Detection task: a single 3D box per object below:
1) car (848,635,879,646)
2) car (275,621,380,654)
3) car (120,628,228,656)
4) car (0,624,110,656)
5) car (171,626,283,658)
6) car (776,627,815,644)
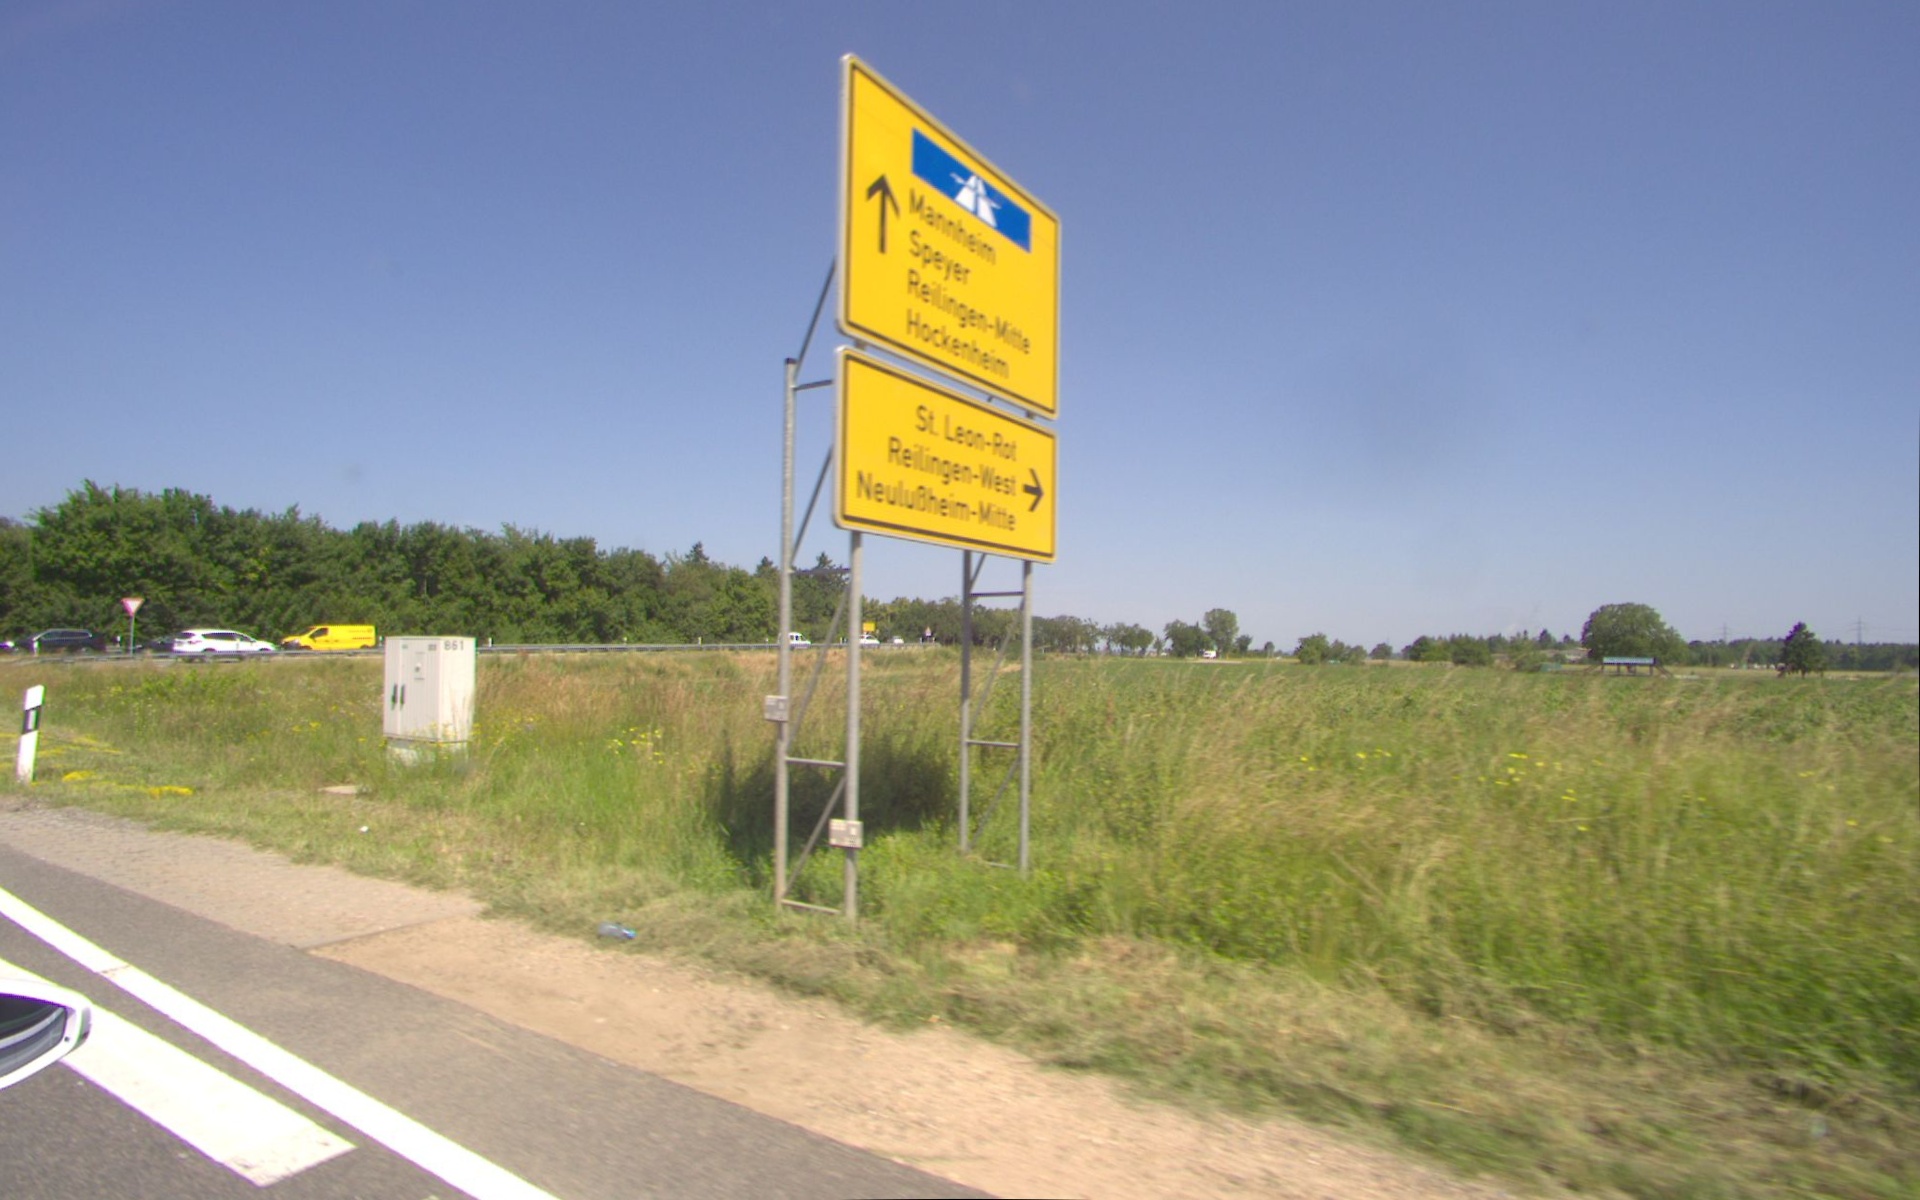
[{"bbox_3d":[-10.636,4.517,111.021,1.689,1.204,3.990,-1,-2,24],"label":"car"},{"bbox_3d":[-40.098,2.390,63.629,1.973,2.039,5.311,-1,-3,34],"label":"car"},{"bbox_3d":[-45.642,2.433,58.257,1.831,1.533,4.664,-2,-3,39],"label":"car"},{"bbox_3d":[-47.685,2.097,52.516,1.744,1.618,4.475,-1,-3,35],"label":"car"},{"bbox_3d":[-38.118,2.191,52.218,1.710,1.586,4.473,-1,-2,23],"label":"car"},{"bbox_3d":[-16.276,3.520,99.000,1.692,1.589,3.984,-1,-2,29],"label":"car"}]
